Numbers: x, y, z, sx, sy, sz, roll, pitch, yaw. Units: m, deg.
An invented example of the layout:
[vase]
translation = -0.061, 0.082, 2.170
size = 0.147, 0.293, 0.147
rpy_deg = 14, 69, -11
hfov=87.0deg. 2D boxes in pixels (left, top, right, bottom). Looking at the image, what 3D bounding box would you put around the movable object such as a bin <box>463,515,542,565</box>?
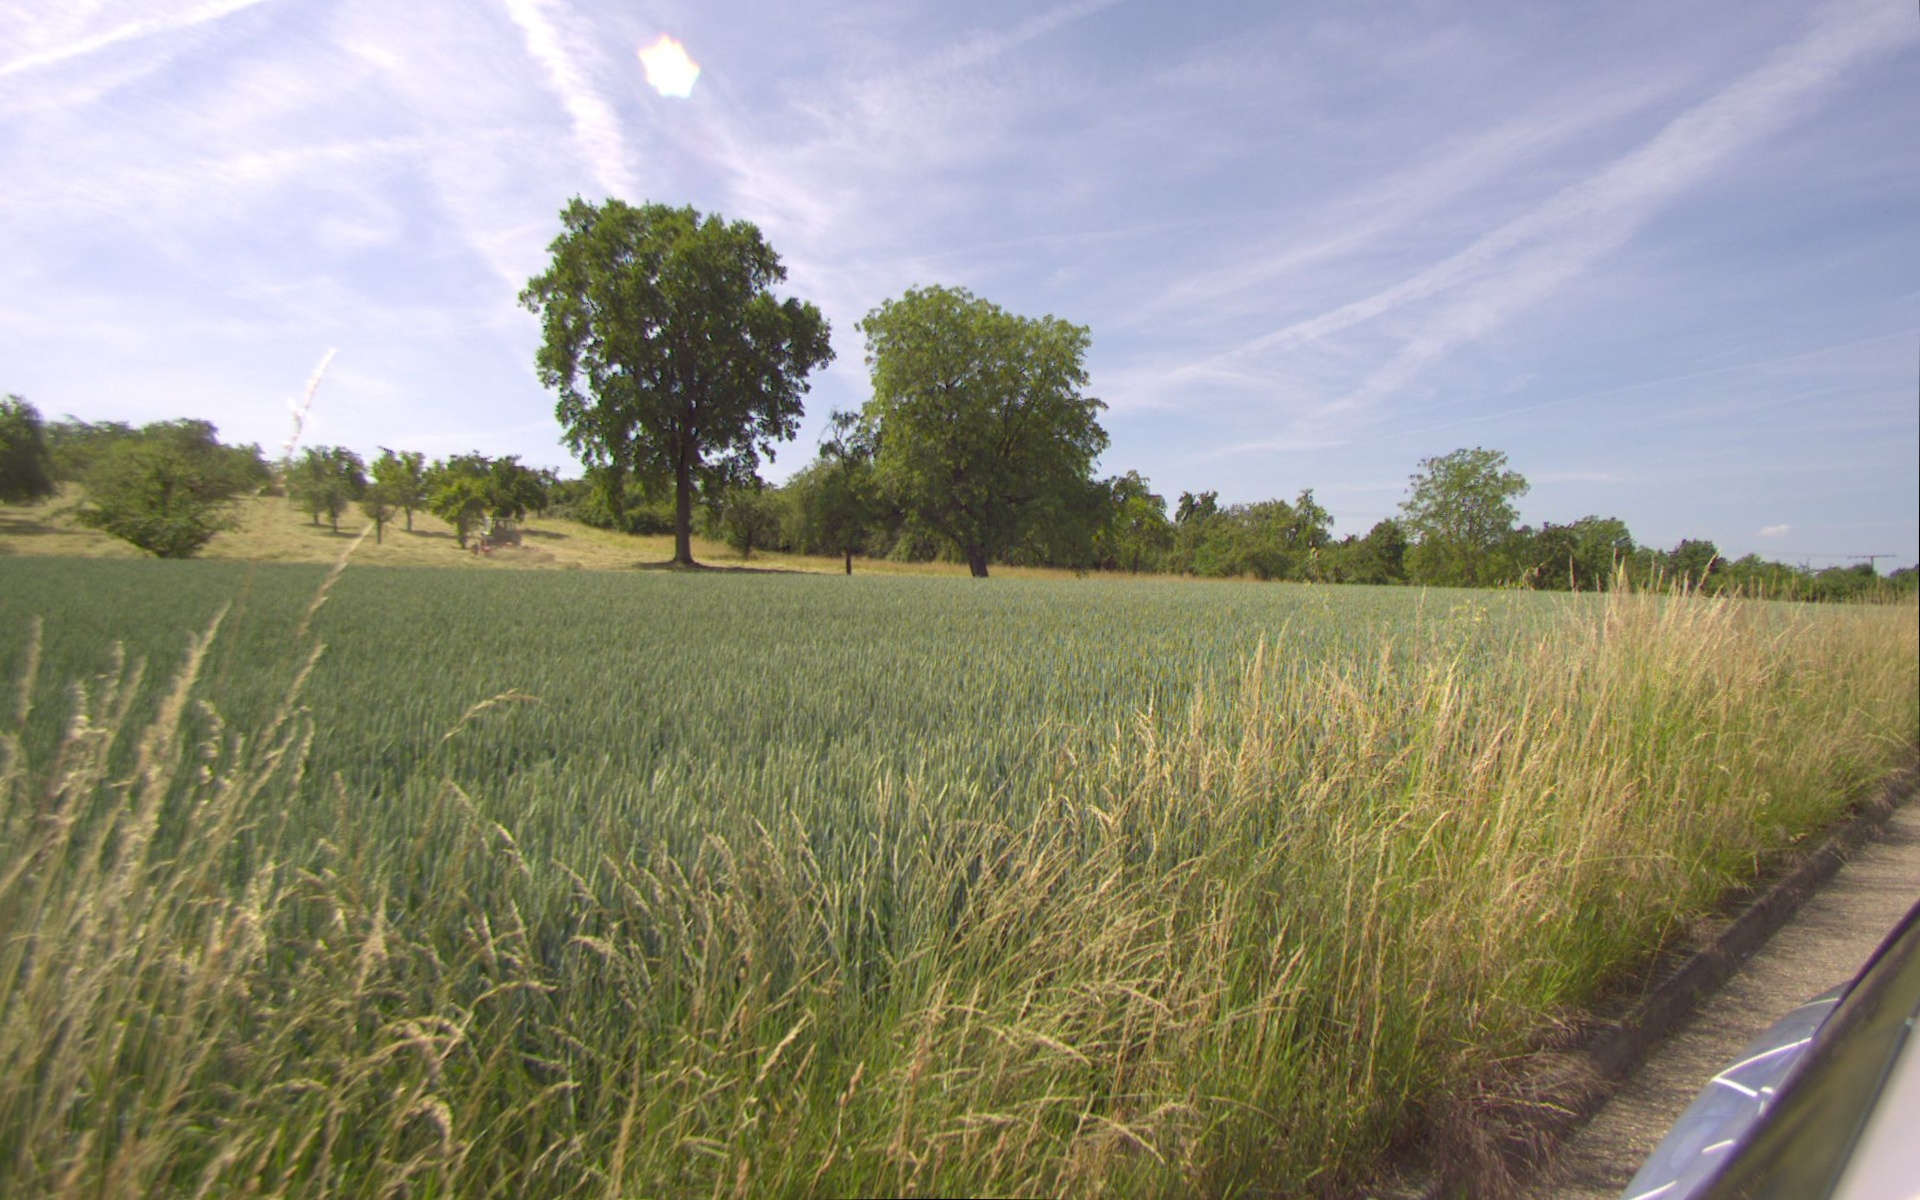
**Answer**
[movable object such as a bin]
translation = -24.851, -3.286, 54.833
size = 2.401, 2.398, 6.576
rpy_deg = 0, 4, -38
